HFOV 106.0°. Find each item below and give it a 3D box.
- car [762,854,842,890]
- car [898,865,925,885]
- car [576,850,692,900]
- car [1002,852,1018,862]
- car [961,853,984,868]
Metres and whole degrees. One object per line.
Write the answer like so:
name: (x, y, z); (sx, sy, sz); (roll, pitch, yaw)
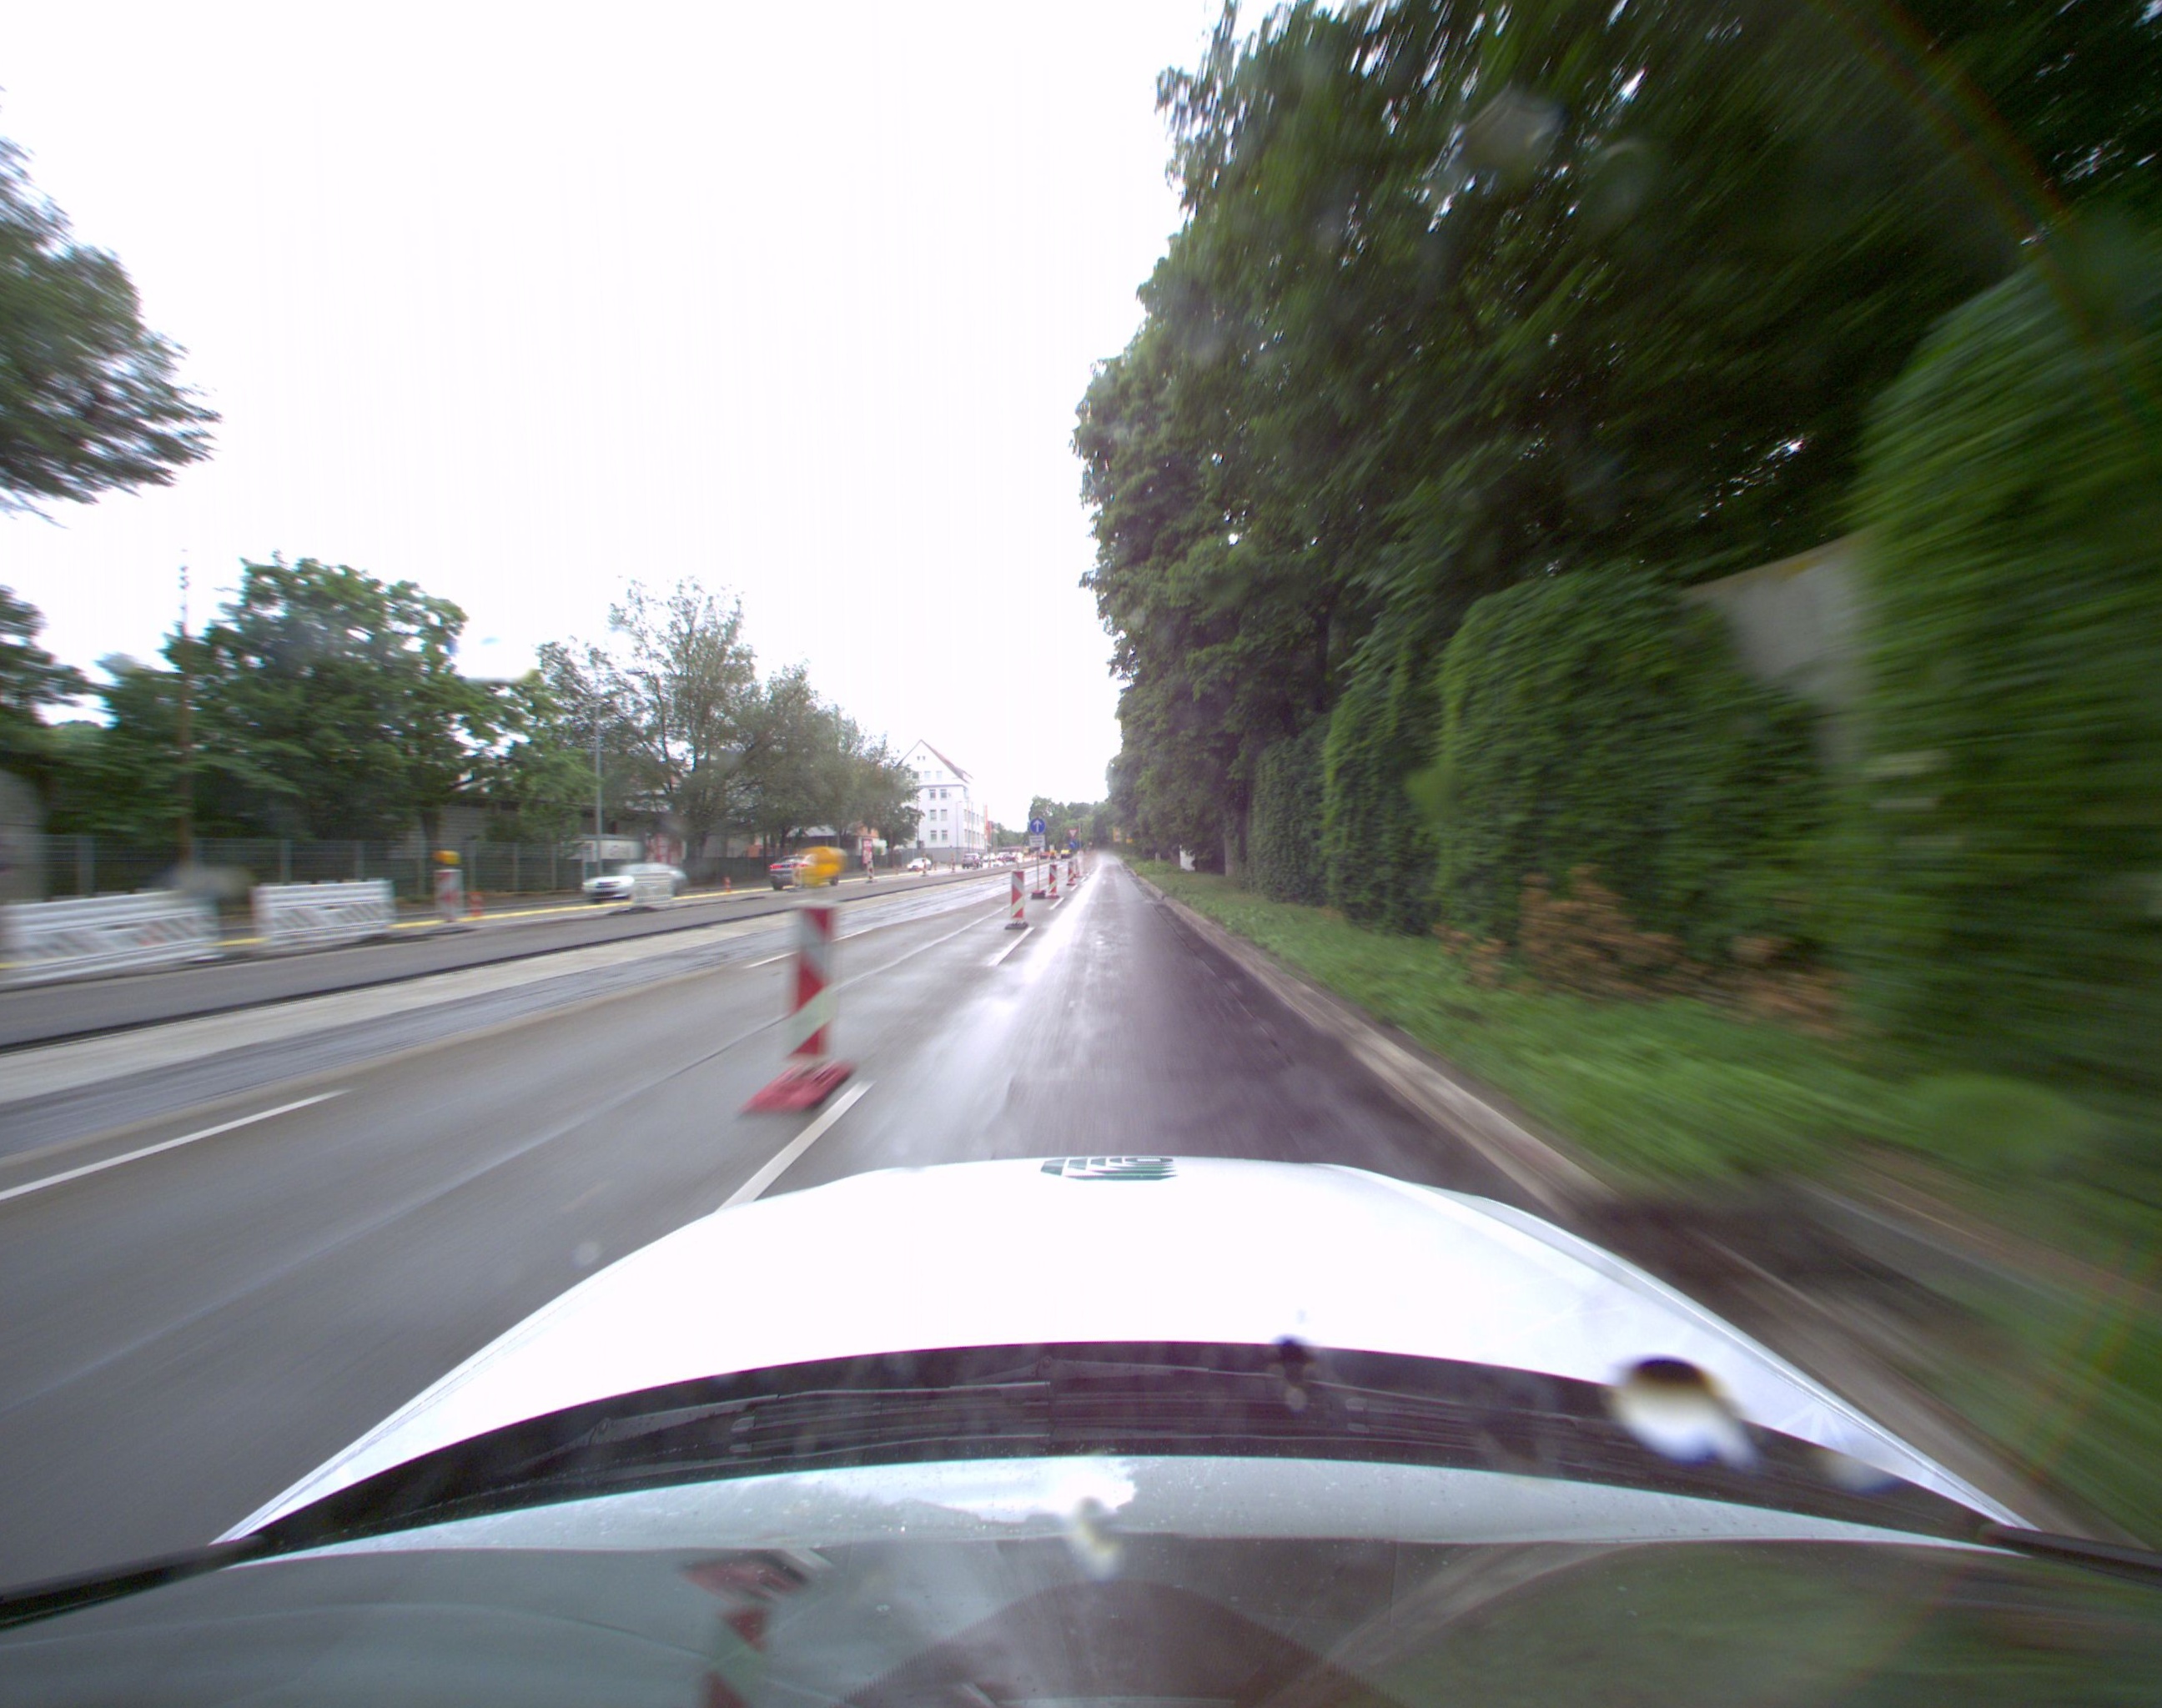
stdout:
car: (-13.528, 0.828, 39.832); (2.069, 1.613, 5.057); (-1, 0, 1)
car: (-17.862, 2.232, 86.074); (1.986, 2.014, 4.001); (-1, 0, 1)
car: (-17.148, 0.774, 31.483); (1.986, 1.766, 4.281); (-1, 0, 2)
car: (-10.809, 0.486, 123.635); (1.986, 1.519, 4.001); (-1, 0, 2)
car: (-11.785, 0.691, 88.755); (1.847, 1.648, 4.002); (-1, 0, 2)
